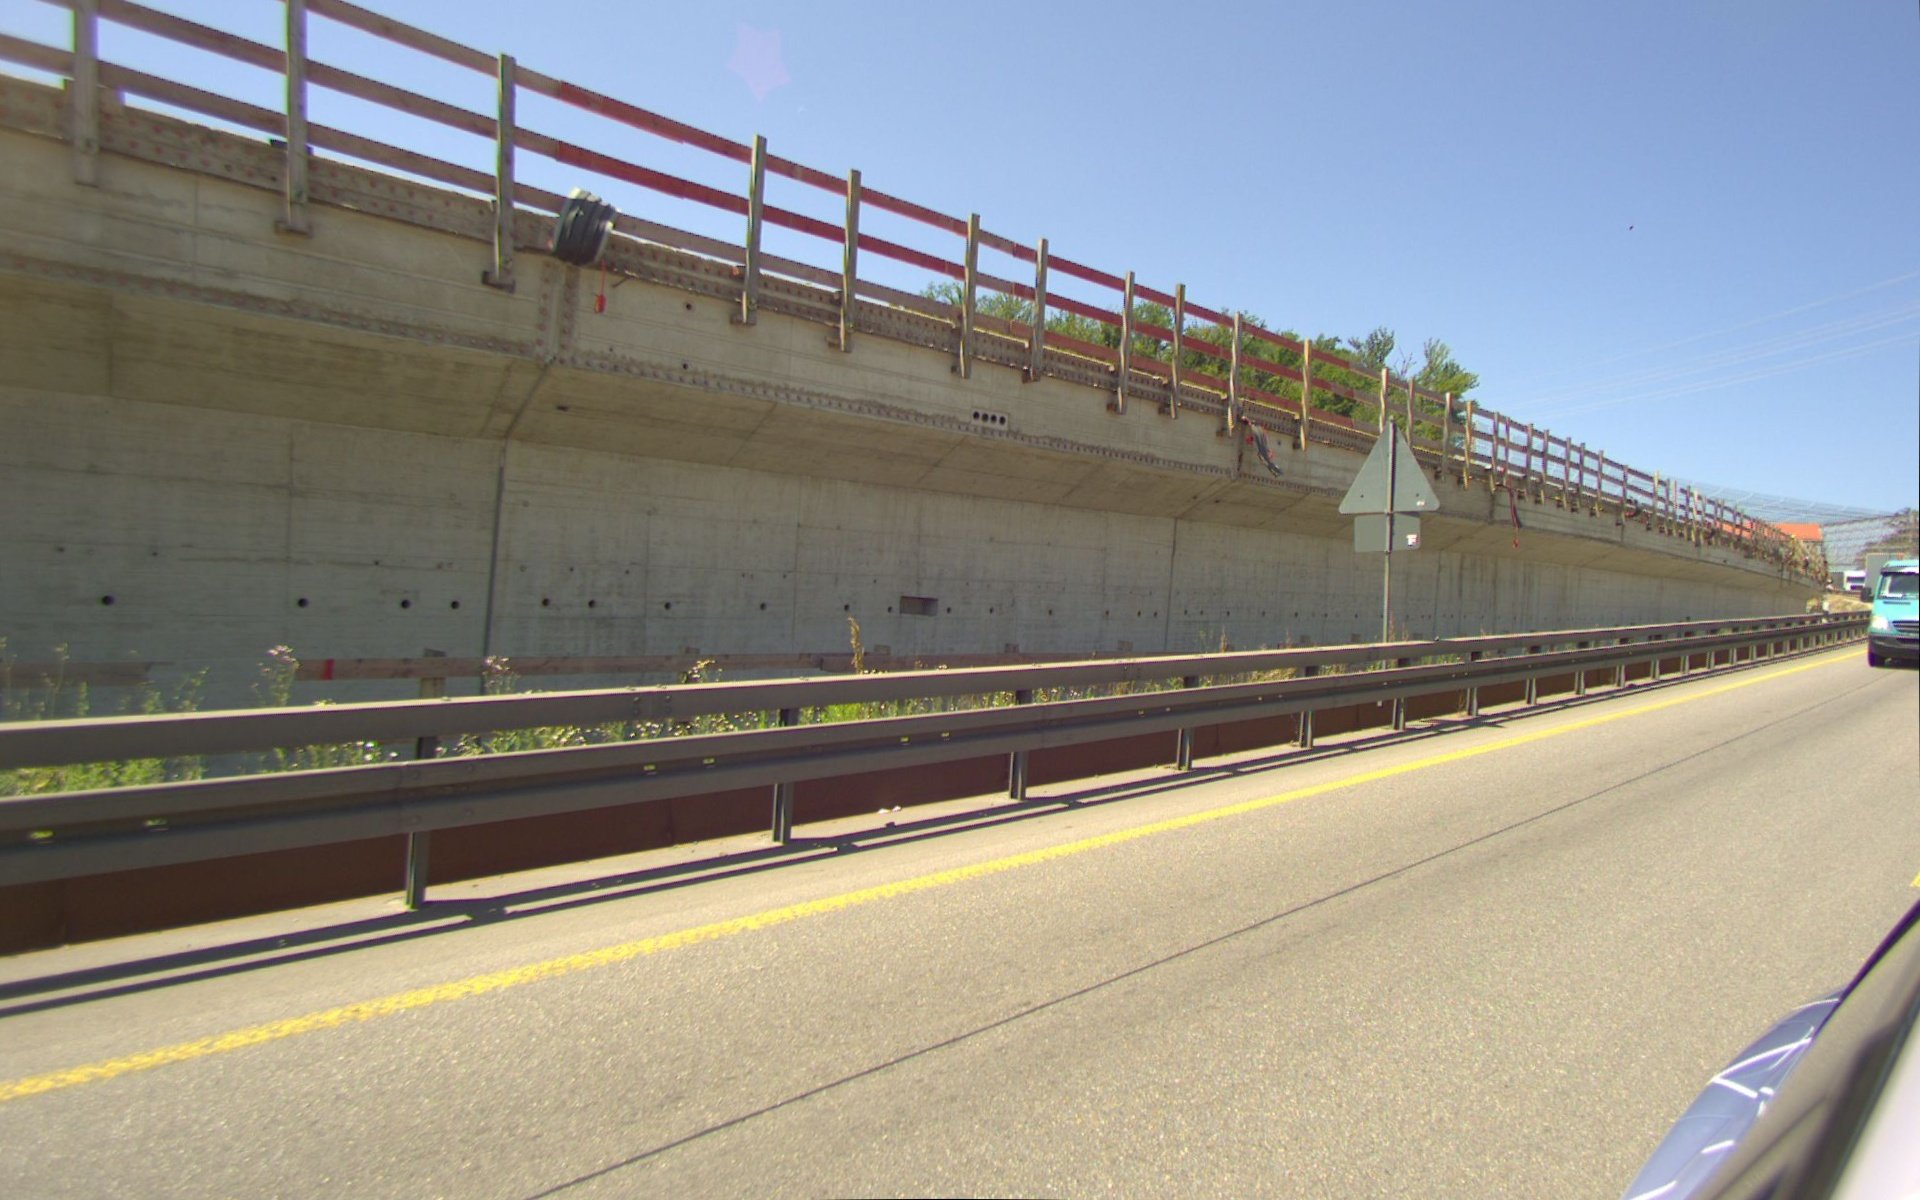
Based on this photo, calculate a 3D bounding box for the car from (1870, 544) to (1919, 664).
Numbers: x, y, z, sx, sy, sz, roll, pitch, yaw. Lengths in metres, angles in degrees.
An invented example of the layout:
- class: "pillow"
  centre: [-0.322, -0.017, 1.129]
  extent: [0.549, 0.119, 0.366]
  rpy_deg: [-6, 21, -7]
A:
- class: "car"
  centre: [21.597, 0.037, 22.062]
  extent: [6.790, 2.354, 2.213]
  rpy_deg: [-1, 2, -45]
